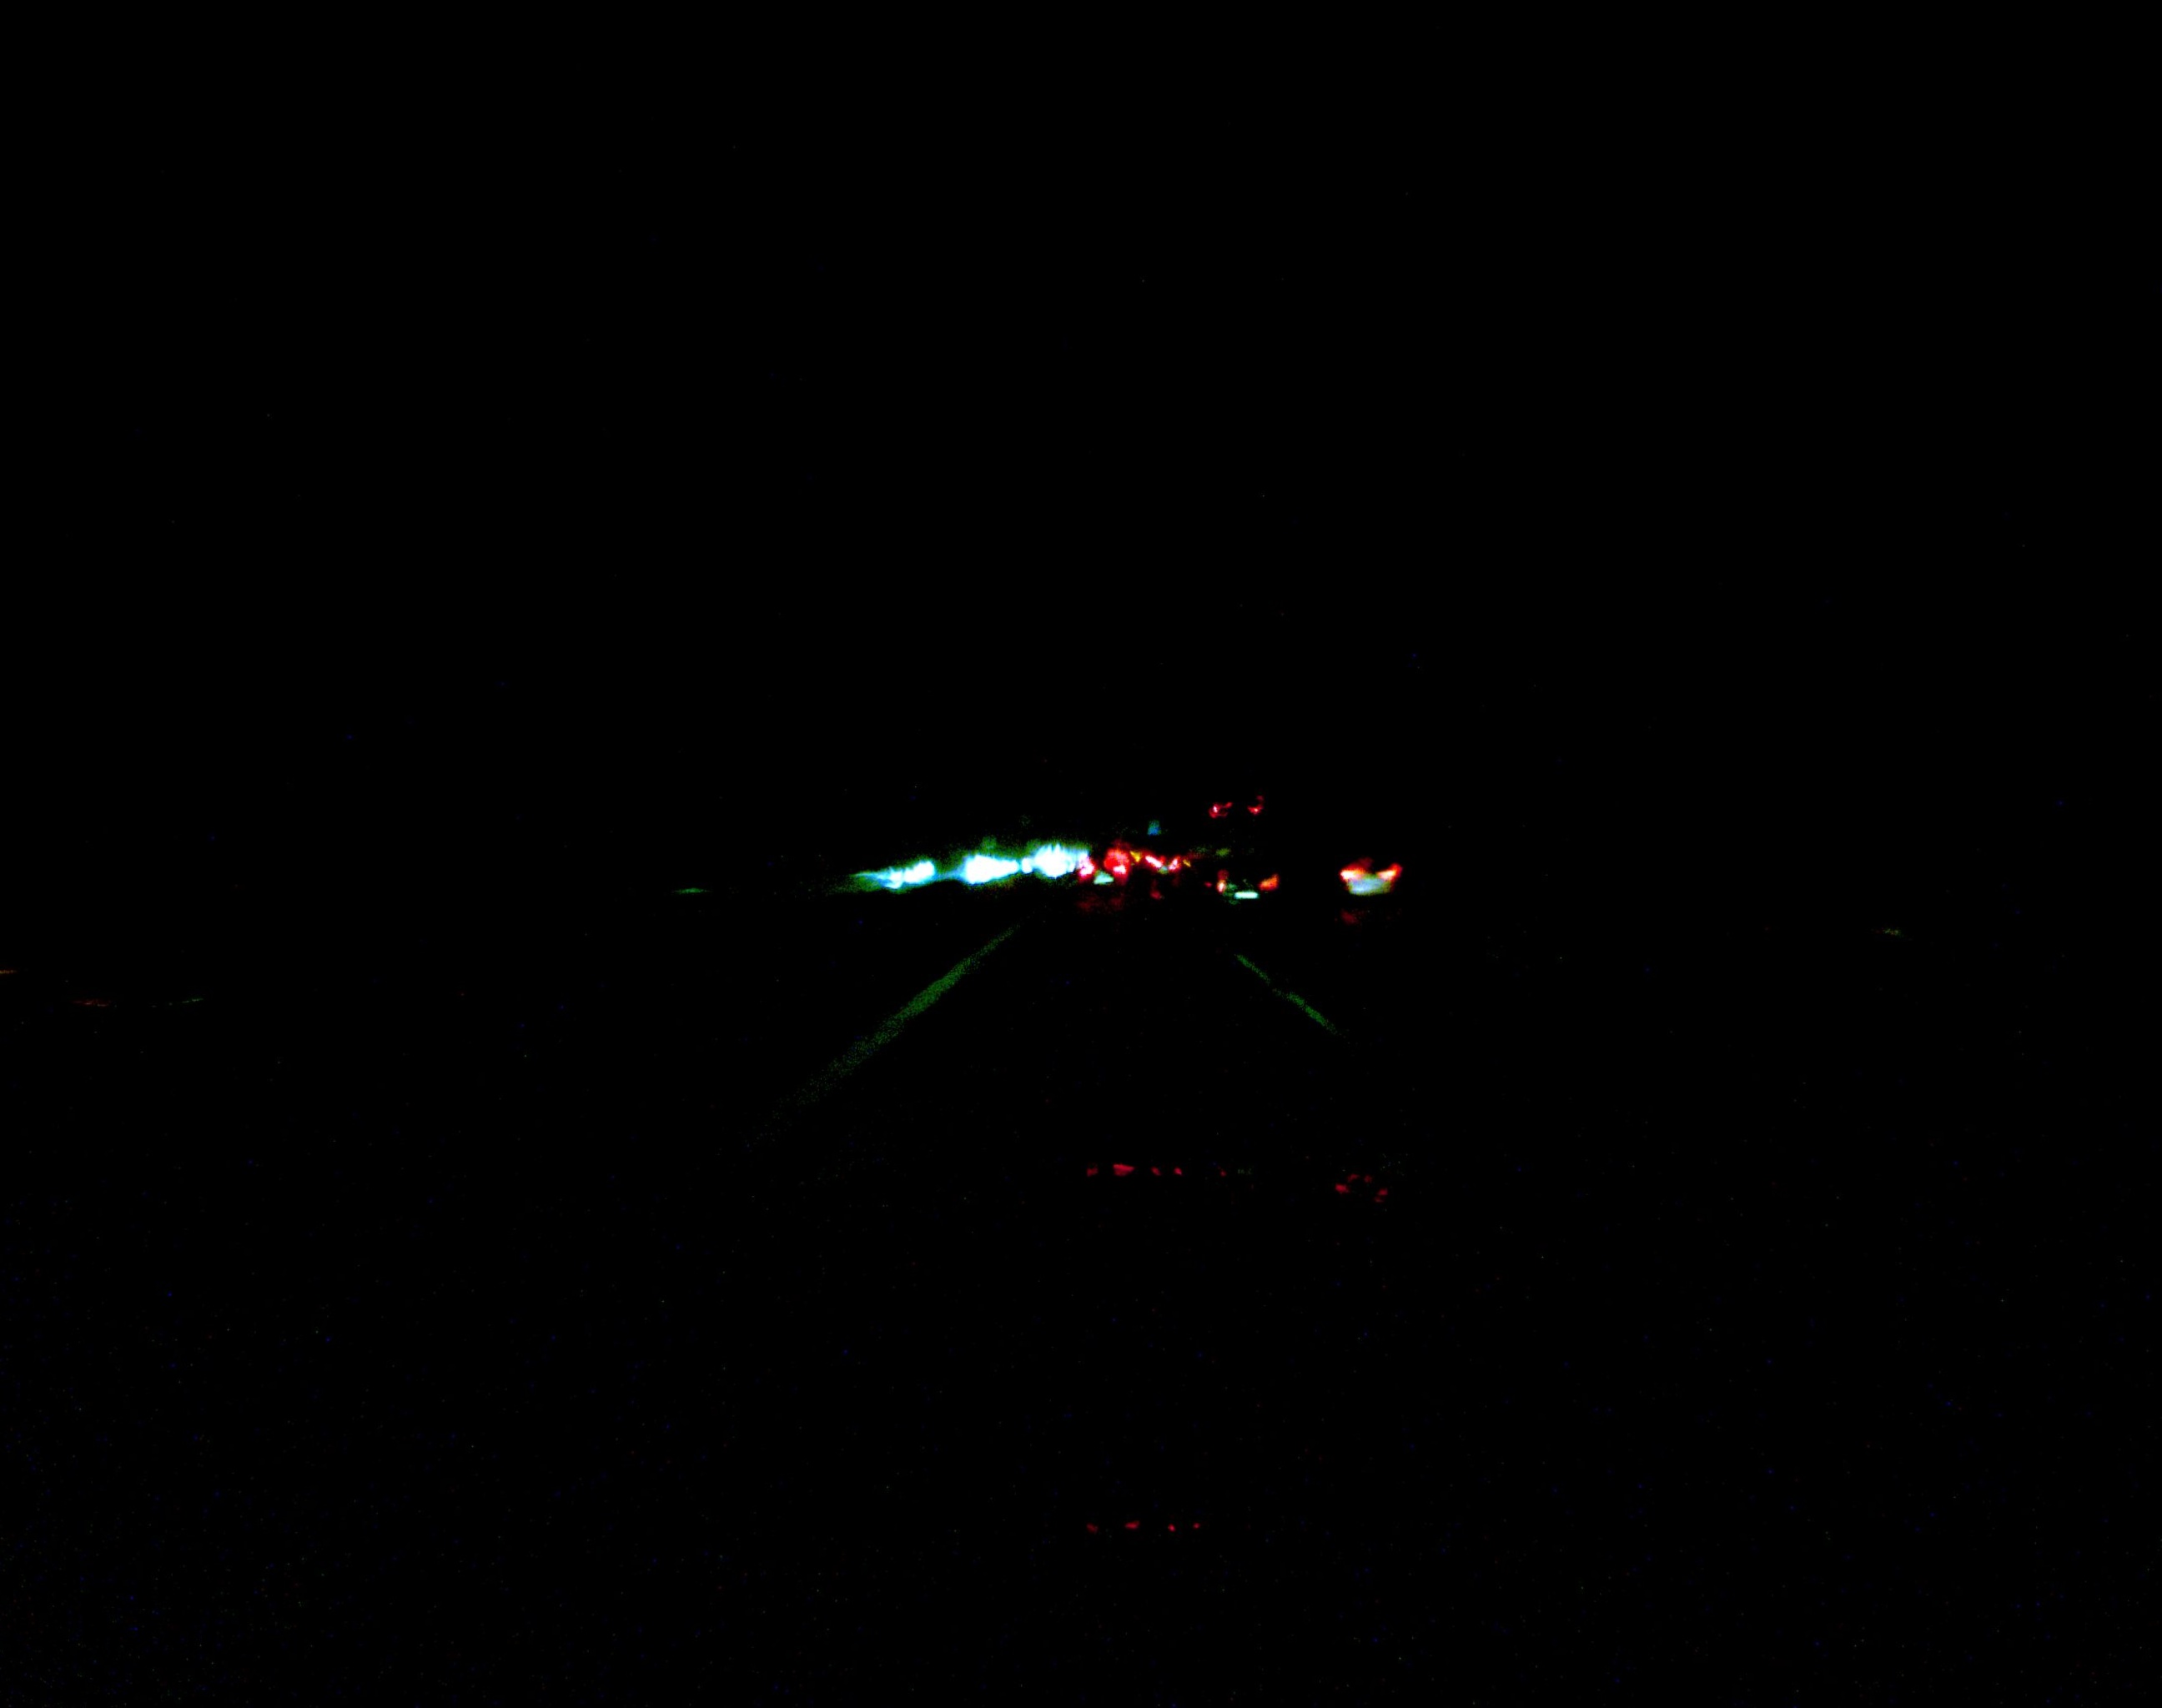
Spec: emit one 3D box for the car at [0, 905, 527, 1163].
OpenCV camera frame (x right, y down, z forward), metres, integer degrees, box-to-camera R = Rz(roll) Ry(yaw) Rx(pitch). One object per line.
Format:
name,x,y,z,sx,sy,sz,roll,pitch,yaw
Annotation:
car,-7.584,1.385,7.687,1.672,1.447,4.287,-3,0,0

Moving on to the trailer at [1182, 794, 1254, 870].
trailer,8.437,-1.224,51.724,2.793,4.212,12.100,-1,0,2

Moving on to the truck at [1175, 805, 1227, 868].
truck,8.623,-1.191,59.196,2.793,4.267,7.450,-1,0,1

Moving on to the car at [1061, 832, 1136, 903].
car,0.663,0.490,33.617,2.701,2.534,5.830,-3,0,0

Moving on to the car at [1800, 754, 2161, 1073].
car,7.703,0.371,4.919,2.039,1.974,5.408,0,0,1

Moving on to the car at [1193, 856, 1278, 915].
car,4.055,0.780,21.882,1.607,1.412,3.792,-1,0,0

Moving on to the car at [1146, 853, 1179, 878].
car,5.422,0.744,54.399,1.877,1.588,4.001,-1,0,1

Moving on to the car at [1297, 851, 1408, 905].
car,8.357,0.675,25.606,1.888,1.486,4.962,0,0,1

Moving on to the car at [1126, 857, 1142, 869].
car,7.411,1.263,114.491,2.128,1.618,4.002,0,0,2

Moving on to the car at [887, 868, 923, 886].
car,-14.436,1.868,66.929,1.955,1.345,4.288,-1,0,1

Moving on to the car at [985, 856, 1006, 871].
car,-9.531,1.038,91.346,1.643,1.582,5.130,-1,0,2

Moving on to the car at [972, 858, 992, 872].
car,-12.713,1.424,104.828,1.865,1.616,4.502,-3,0,1

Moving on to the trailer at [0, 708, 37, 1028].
trailer,-16.226,0.328,3.474,2.875,4.304,15.725,-1,1,2

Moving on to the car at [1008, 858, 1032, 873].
car,-6.177,1.168,82.884,1.955,1.345,4.288,-1,0,1
